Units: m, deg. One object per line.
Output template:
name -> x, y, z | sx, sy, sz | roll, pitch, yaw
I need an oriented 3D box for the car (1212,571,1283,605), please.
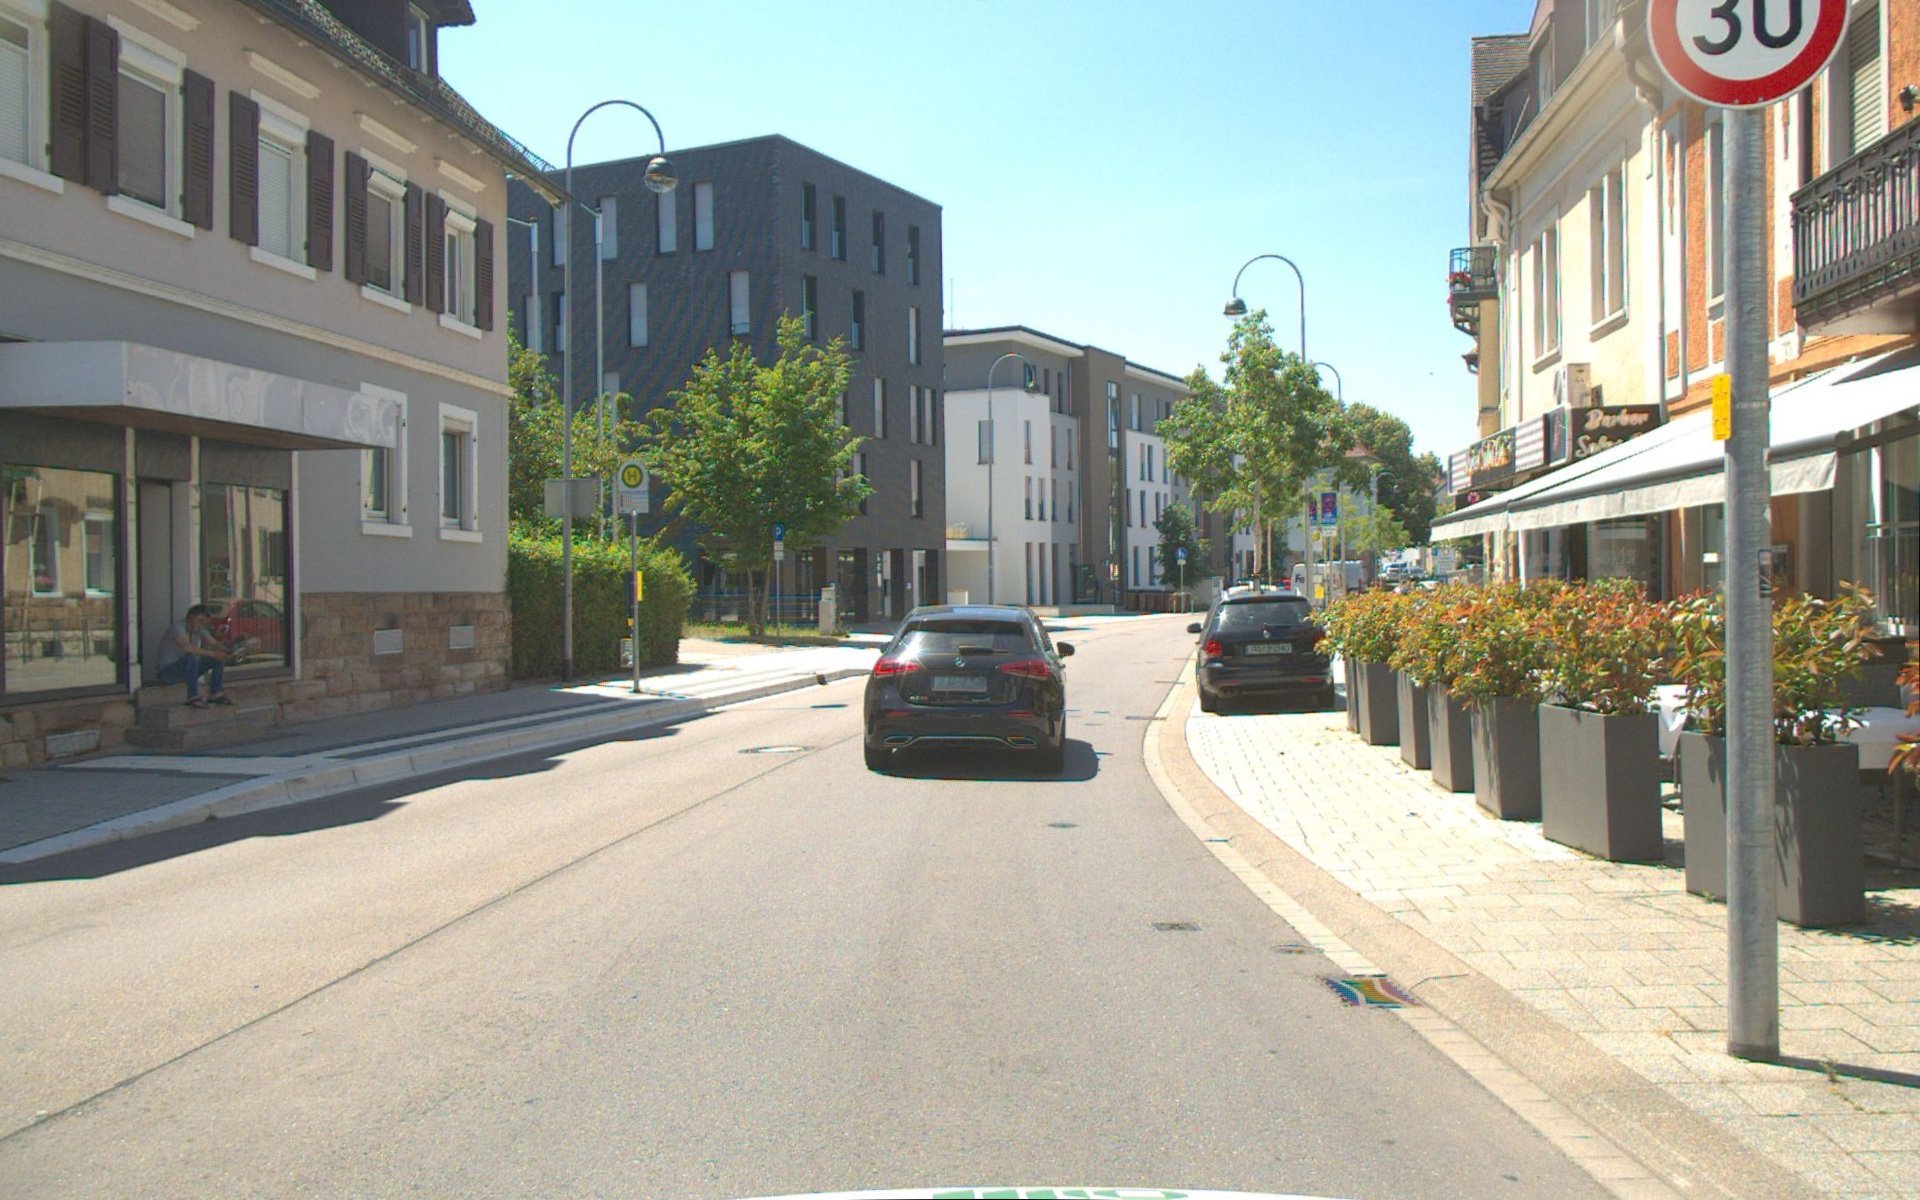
car -> 17.656, -0.759, 101.628 | 3.912, 2.049, 1.997 | 0, 0, 29

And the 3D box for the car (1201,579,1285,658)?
car -> 6.048, 0.370, 35.604 | 1.571, 1.556, 3.495 | -2, 0, 7

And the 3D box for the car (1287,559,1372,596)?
car -> 26.762, -1.643, 119.699 | 5.536, 2.624, 2.511 | 0, 0, 30

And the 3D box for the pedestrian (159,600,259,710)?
pedestrian -> -7.564, 0.544, 16.690 | 0.656, 1.073, 0.700 | 0, 0, 4

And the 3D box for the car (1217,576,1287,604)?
car -> 18.376, -0.620, 104.148 | 3.911, 1.691, 1.997 | 0, 0, 28

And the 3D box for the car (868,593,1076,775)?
car -> 0.190, 0.686, 15.981 | 1.726, 1.483, 4.440 | 0, 1, 2

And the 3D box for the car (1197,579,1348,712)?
car -> 4.064, 0.538, 21.948 | 1.713, 1.512, 4.004 | -3, 0, 9

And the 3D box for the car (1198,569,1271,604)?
car -> 16.516, -0.791, 99.543 | 3.912, 2.049, 1.997 | 0, 0, 29

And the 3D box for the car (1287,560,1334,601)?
car -> 17.950, -0.997, 84.602 | 1.952, 2.049, 4.002 | 0, 1, 18

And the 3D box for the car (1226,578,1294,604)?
car -> 19.407, -0.588, 106.847 | 3.911, 1.691, 1.997 | 0, 0, 28
